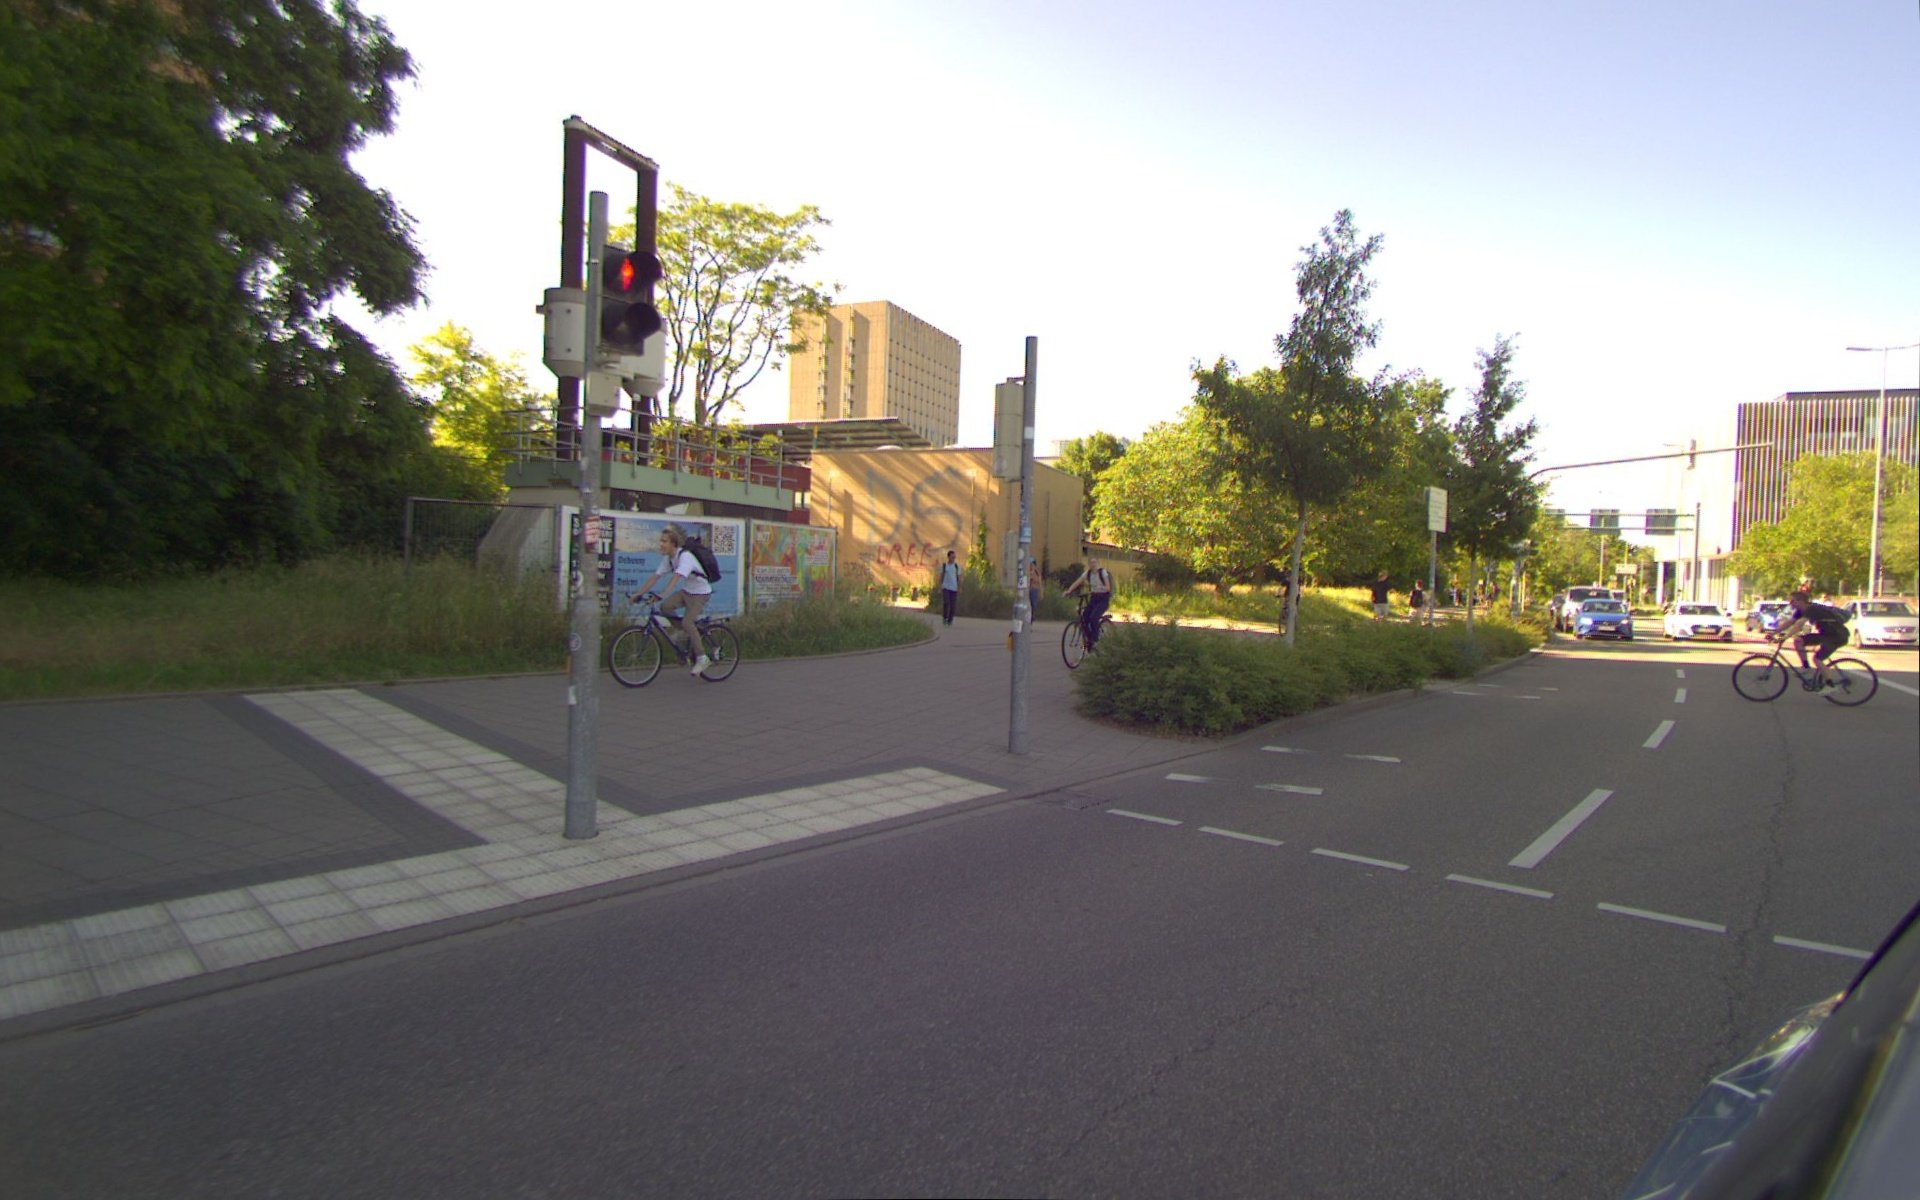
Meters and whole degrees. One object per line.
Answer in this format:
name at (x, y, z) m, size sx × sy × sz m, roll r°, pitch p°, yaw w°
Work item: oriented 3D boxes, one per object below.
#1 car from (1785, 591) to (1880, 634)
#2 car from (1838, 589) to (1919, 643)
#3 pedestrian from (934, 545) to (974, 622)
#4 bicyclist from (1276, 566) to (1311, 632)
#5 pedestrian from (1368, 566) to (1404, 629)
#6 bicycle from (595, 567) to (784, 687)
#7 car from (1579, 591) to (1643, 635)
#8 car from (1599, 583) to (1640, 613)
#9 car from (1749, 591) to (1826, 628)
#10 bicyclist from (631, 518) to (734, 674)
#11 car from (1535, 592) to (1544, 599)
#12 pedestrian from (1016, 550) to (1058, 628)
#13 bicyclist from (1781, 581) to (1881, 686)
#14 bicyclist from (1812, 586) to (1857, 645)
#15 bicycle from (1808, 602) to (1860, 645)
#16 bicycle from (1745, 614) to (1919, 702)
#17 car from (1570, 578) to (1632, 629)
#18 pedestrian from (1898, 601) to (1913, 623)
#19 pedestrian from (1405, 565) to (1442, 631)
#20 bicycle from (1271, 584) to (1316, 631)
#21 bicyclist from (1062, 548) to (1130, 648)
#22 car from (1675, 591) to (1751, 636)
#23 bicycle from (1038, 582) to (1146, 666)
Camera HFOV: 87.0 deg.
car at (34.935, 0.454, 40.643) m, size 1.967 × 1.574 × 4.674 m, roll 1°, pitch 1°, yaw 29°
car at (30.447, 0.488, 33.092) m, size 1.774 × 1.645 × 4.271 m, roll 1°, pitch 1°, yaw 29°
pedestrian at (-0.139, -0.366, 22.617) m, size 0.663 × 1.664 × 0.737 m, roll 3°, pitch -1°, yaw -13°
bicyclist at (8.684, -0.042, 26.330) m, size 0.639 × 1.666 × 0.767 m, roll 3°, pitch 1°, yaw 33°
pedestrian at (12.612, -0.075, 29.942) m, size 0.729 × 1.804 × 0.724 m, roll 2°, pitch -1°, yaw 43°
bicycle at (-2.951, 0.271, 11.193) m, size 0.641 × 1.179 × 1.926 m, roll 6°, pitch 4°, yaw 43°
car at (23.340, 0.434, 36.400) m, size 1.690 × 1.460 × 3.958 m, roll 1°, pitch 1°, yaw 29°
car at (44.714, -0.152, 68.705) m, size 1.922 × 1.977 × 4.487 m, roll 1°, pitch 0°, yaw 28°
car at (38.493, 0.405, 47.191) m, size 1.967 × 1.574 × 4.674 m, roll 1°, pitch 1°, yaw 29°
bicyclist at (-3.031, -0.055, 11.070) m, size 0.630 × 1.614 × 0.819 m, roll 7°, pitch 4°, yaw 44°
car at (127.268, -0.943, 222.296) m, size 1.678 × 1.612 × 3.563 m, roll 1°, pitch 0°, yaw 28°
pedestrian at (1.706, -0.240, 22.545) m, size 0.663 × 1.664 × 0.737 m, roll 3°, pitch -1°, yaw -14°
bicyclist at (12.706, 0.464, 14.791) m, size 0.943 × 1.462 × 0.637 m, roll 1°, pitch 0°, yaw 26°
bicyclist at (26.316, 0.441, 30.463) m, size 0.739 × 1.705 × 0.968 m, roll 3°, pitch 3°, yaw 28°
bicycle at (26.355, 0.687, 30.555) m, size 0.741 × 1.179 × 1.853 m, roll 3°, pitch 3°, yaw 28°
bicycle at (12.708, 0.817, 14.783) m, size 1.851 × 1.180 × 0.637 m, roll 1°, pitch 0°, yaw 26°
car at (26.644, 0.112, 42.186) m, size 1.922 × 1.977 × 4.707 m, roll 1°, pitch 1°, yaw 29°
pedestrian at (72.420, 0.946, 77.549) m, size 0.646 × 1.631 × 0.554 m, roll 2°, pitch -1°, yaw 24°
pedestrian at (13.327, -0.050, 29.109) m, size 0.729 × 1.839 × 0.724 m, roll 2°, pitch -1°, yaw 43°
bicycle at (8.711, 0.183, 26.392) m, size 0.638 × 1.179 × 1.849 m, roll 3°, pitch 1°, yaw 32°
bicyclist at (2.084, -0.040, 15.550) m, size 0.641 × 1.462 × 0.764 m, roll 5°, pitch 3°, yaw 44°
car at (27.297, 0.438, 36.789) m, size 1.987 × 1.487 × 3.951 m, roll 2°, pitch 2°, yaw 34°
bicycle at (2.049, 0.342, 15.553) m, size 0.641 × 1.179 × 1.841 m, roll 5°, pitch 3°, yaw 44°
